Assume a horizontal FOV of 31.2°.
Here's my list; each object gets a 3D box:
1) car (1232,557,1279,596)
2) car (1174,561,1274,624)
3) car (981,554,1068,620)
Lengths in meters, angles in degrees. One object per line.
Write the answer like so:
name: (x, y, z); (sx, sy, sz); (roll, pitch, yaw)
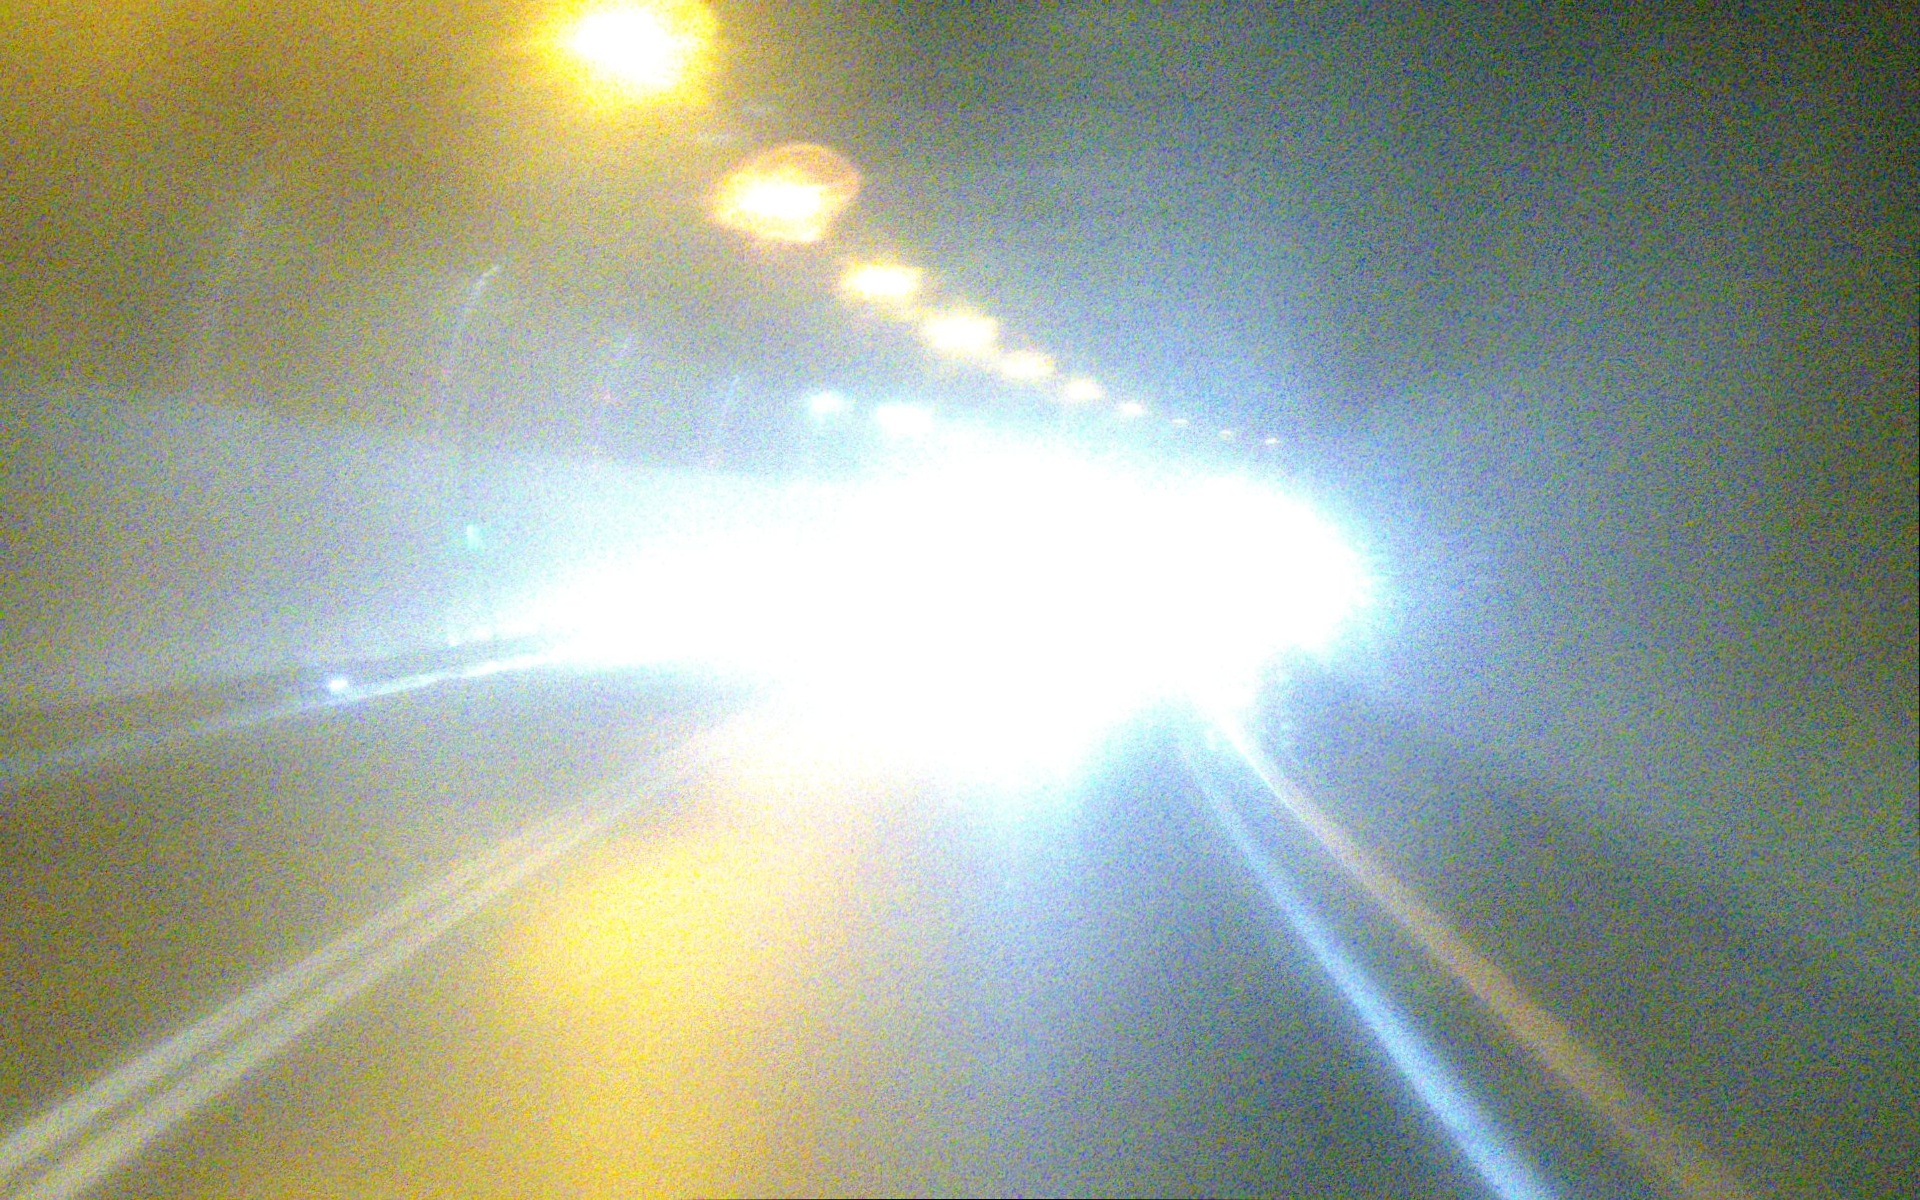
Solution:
car: (11.044, -0.899, 128.369); (1.630, 1.392, 3.999); (1, 1, 6)
car: (7.258, -0.233, 94.234); (1.995, 1.645, 3.997); (1, 1, 15)
car: (1.457, -0.324, 79.391); (1.625, 1.442, 3.937); (1, 1, -4)
